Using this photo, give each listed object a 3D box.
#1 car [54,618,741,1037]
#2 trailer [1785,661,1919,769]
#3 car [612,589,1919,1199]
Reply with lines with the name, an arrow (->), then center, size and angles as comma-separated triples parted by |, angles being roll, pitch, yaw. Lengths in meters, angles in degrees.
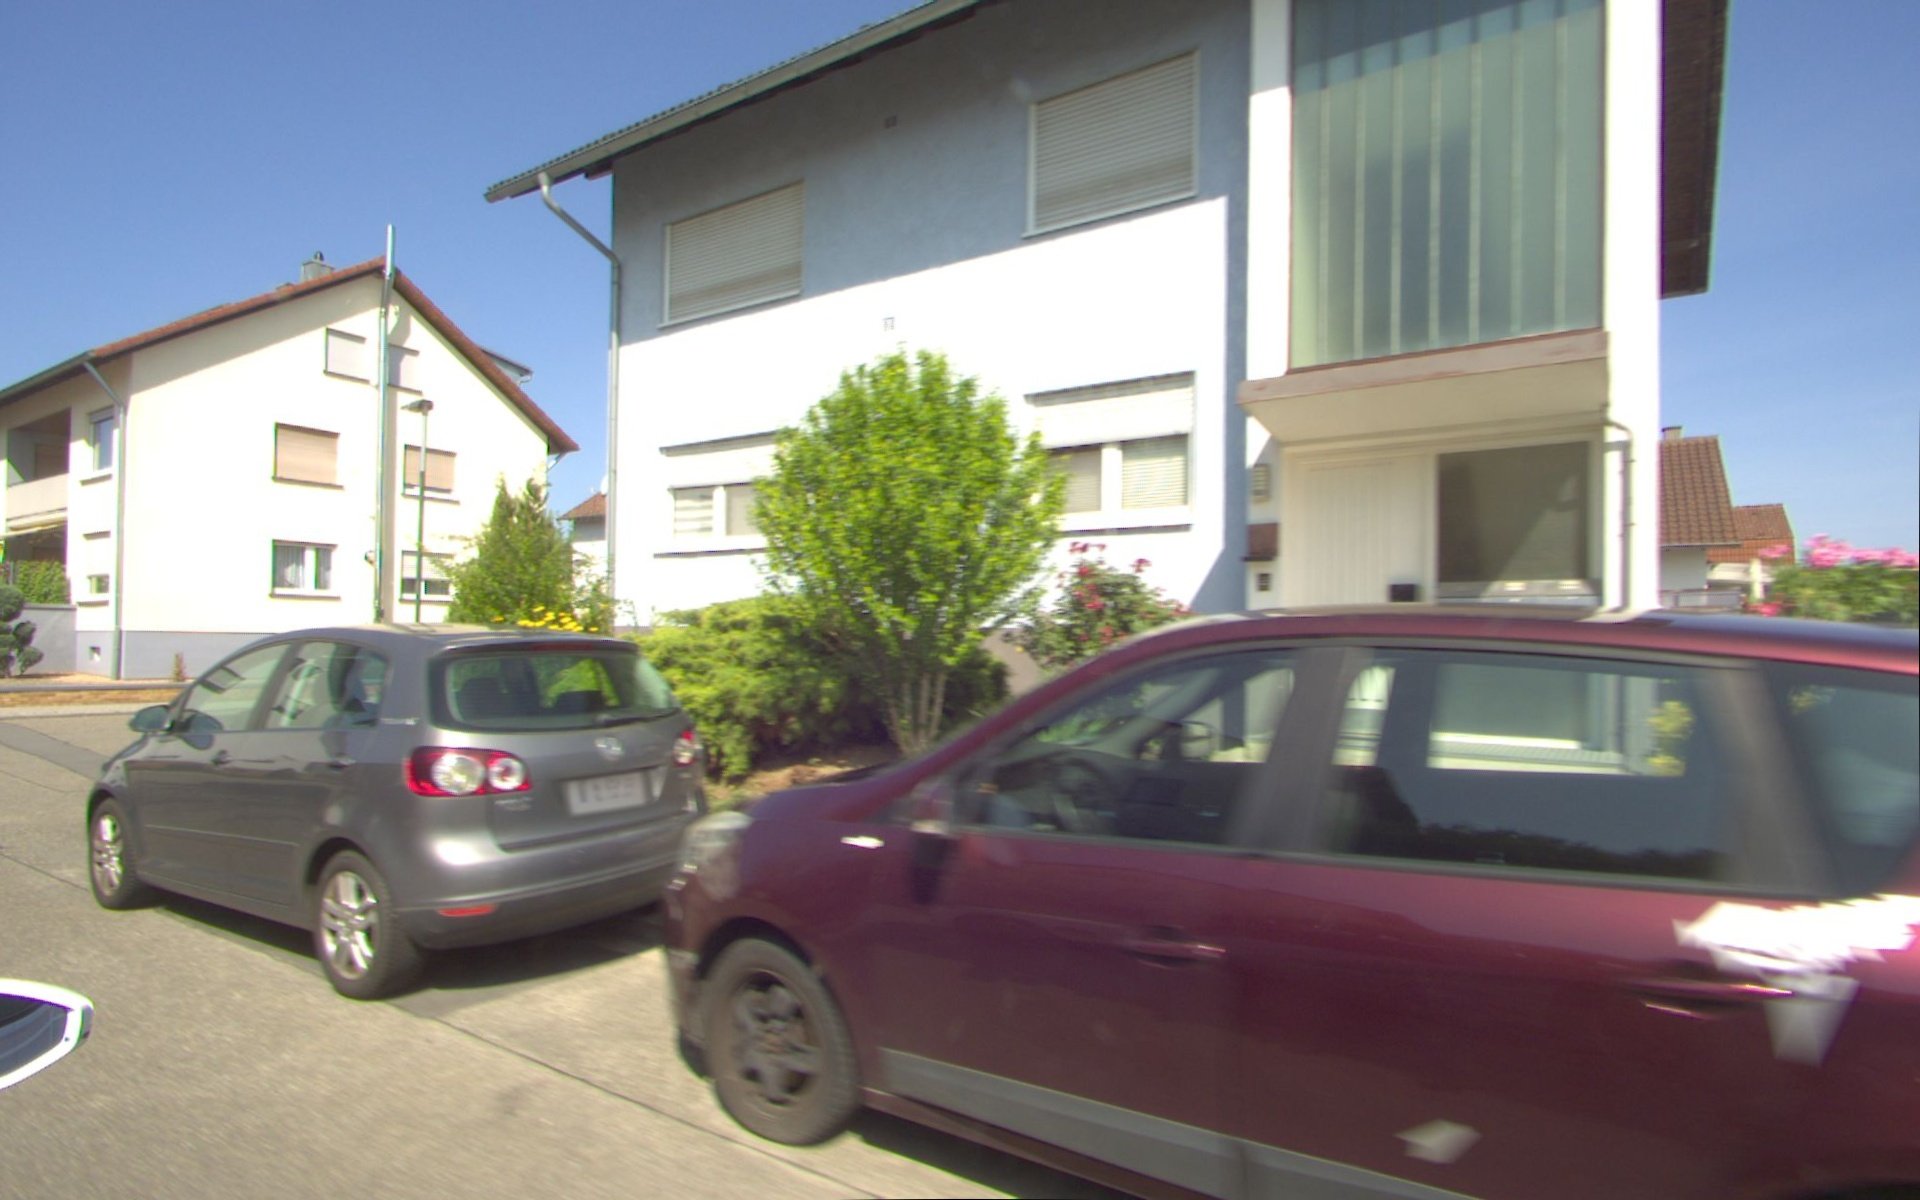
car -> -3.253, 0.904, 5.557 | 3.990, 1.565, 1.642 | 0, -2, 33
trailer -> 9.631, 1.099, 9.531 | 2.647, 0.957, 1.324 | -1, -2, 36
car -> 0.956, 0.824, 2.935 | 4.091, 1.601, 1.641 | -1, -2, 35
